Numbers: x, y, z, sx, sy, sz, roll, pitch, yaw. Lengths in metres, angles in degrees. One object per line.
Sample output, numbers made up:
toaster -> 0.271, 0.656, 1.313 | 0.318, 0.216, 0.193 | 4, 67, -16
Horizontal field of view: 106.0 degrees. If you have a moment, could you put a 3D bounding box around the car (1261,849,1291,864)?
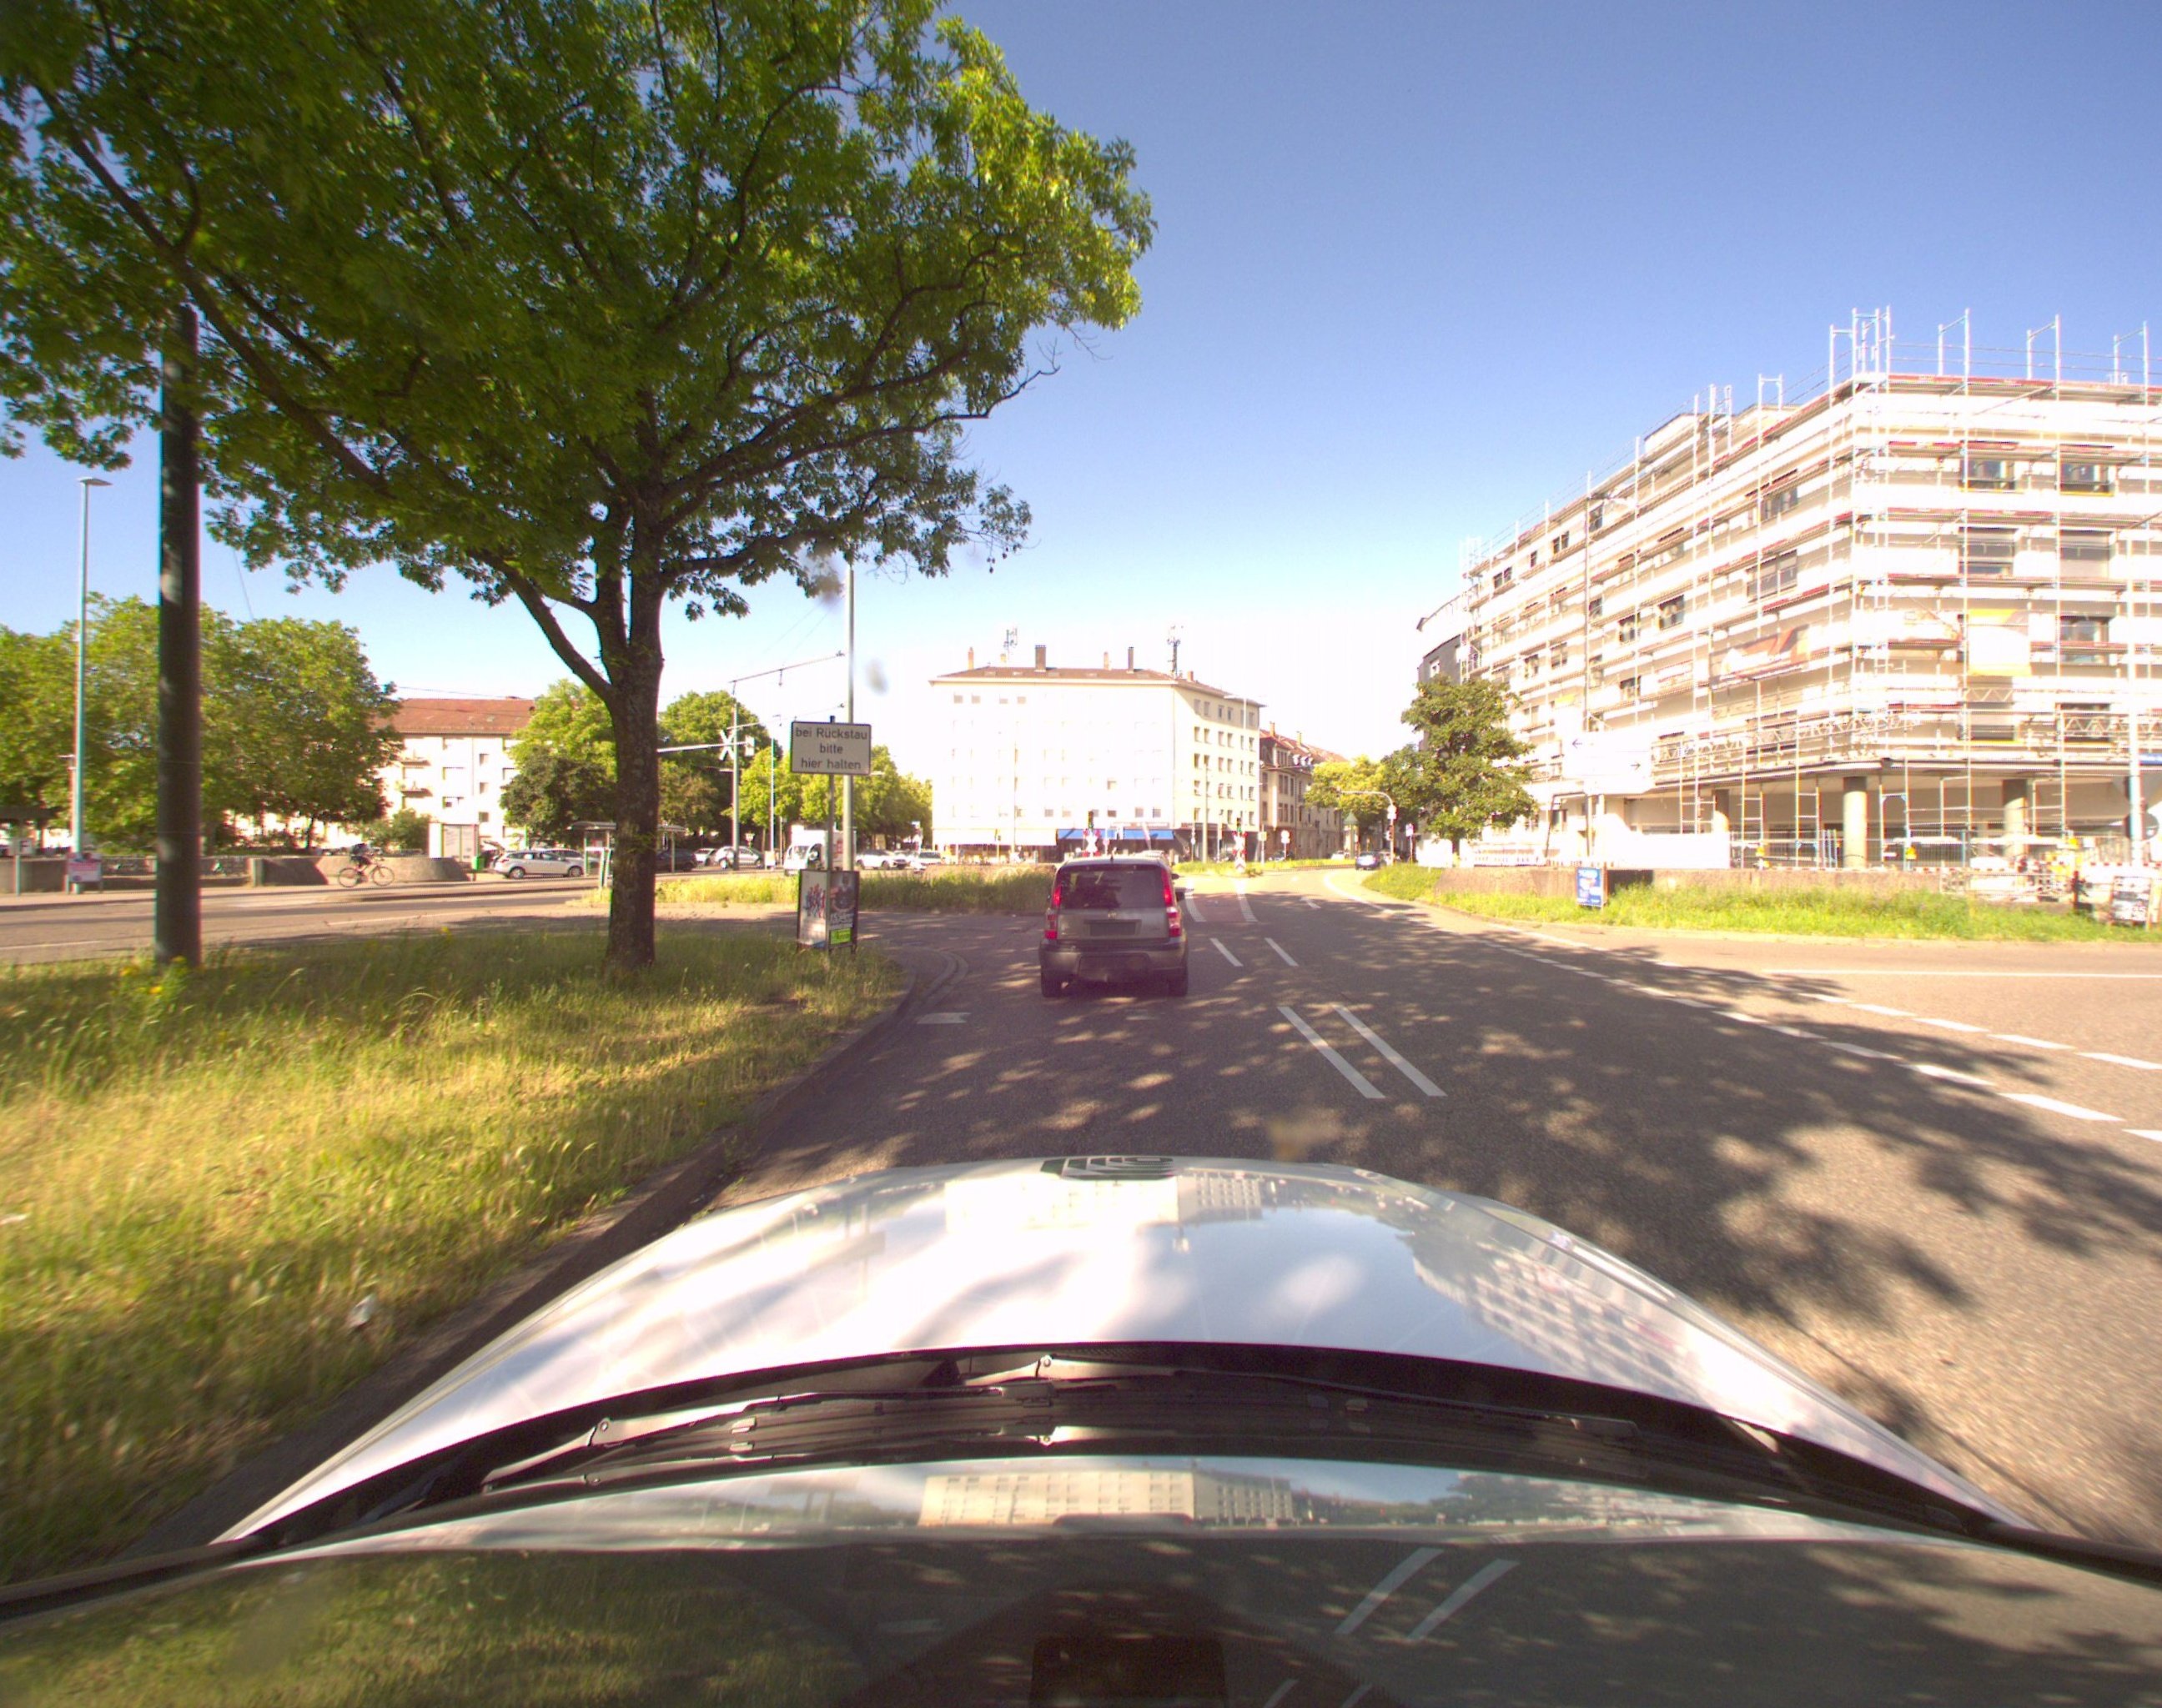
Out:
car -> 20.698, 0.249, 86.465 | 1.773, 1.565, 3.790 | 0, 0, 35

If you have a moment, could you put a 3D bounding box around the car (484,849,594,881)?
car -> -28.853, 0.562, 43.457 | 1.849, 1.544, 4.576 | 4, 3, 43

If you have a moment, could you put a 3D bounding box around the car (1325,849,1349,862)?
car -> 31.364, 0.173, 99.648 | 1.773, 1.483, 3.554 | 0, 0, 35

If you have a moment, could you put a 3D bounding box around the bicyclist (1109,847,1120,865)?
bicyclist -> 2.999, 0.192, 72.082 | 0.814, 1.559, 0.565 | 0, 0, 24

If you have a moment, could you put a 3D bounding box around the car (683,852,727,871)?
car -> -33.619, 0.615, 72.961 | 1.752, 1.617, 4.230 | 1, 1, 3

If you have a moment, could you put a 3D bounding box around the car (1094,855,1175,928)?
car -> 1.098, 0.758, 18.091 | 1.615, 1.429, 3.689 | 0, 0, 1

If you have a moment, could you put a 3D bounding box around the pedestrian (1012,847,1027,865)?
pedestrian -> -5.015, 0.142, 66.326 | 0.926, 1.427, 0.781 | 1, -1, 41

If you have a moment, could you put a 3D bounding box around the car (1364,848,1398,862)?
car -> 34.412, 0.126, 93.536 | 1.906, 1.594, 3.983 | 0, 0, -12

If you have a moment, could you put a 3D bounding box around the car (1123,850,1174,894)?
car -> 2.566, 0.610, 30.252 | 1.751, 1.486, 4.301 | 0, 0, 6

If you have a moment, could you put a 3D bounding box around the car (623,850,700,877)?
car -> -26.136, 0.554, 50.873 | 1.743, 1.488, 4.030 | 3, 2, 22

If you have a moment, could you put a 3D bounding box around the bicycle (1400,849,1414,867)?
bicycle -> 27.124, 0.309, 67.753 | 0.567, 1.511, 2.825 | 0, 0, 34

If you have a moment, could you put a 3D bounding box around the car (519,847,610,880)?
car -> -29.511, 0.501, 46.670 | 1.742, 1.717, 4.024 | 3, 2, 27

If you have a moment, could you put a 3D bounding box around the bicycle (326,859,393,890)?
bicycle -> -25.514, 0.715, 28.836 | 0.606, 1.001, 1.668 | 1, 1, 24

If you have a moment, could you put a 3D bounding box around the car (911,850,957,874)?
car -> -9.187, 0.456, 51.134 | 1.655, 1.448, 4.409 | 0, 0, 6

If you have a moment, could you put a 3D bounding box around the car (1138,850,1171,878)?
car -> 4.011, 0.526, 44.921 | 1.639, 1.438, 3.398 | 0, 0, 2

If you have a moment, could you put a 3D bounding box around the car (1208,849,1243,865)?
car -> 13.259, 0.276, 74.648 | 1.773, 1.396, 3.749 | 0, 0, 35

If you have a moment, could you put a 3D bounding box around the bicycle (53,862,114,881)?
bicycle -> -45.252, 0.779, 36.976 | 1.695, 0.839, 0.541 | 0, 0, -43

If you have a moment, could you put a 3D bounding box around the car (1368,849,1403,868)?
car -> 25.110, 0.337, 67.010 | 1.802, 1.508, 4.026 | 0, 1, 34

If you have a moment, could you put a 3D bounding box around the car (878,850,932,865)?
car -> -14.583, 0.285, 67.591 | 3.965, 1.243, 2.004 | 1, 0, 7

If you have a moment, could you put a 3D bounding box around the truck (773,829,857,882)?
truck -> -12.904, 0.059, 39.782 | 1.774, 2.427, 4.129 | 0, 0, 18

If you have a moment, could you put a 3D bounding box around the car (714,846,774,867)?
car -> -26.002, 0.200, 62.936 | 3.989, 1.572, 1.992 | 0, 0, -12

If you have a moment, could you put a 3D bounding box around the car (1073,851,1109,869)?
car -> 0.656, 0.404, 56.096 | 1.691, 1.253, 3.611 | 0, 0, -12

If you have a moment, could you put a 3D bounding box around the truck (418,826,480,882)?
truck -> -35.720, -0.062, 45.959 | 4.768, 2.994, 2.012 | 1, 1, 43

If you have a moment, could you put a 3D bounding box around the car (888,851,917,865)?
car -> -17.656, 0.388, 80.582 | 1.987, 1.310, 4.000 | 0, 0, 0

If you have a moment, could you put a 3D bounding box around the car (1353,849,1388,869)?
car -> 22.345, 0.368, 62.877 | 1.758, 1.442, 3.641 | 1, 1, 33

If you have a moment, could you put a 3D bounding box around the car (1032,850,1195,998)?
car -> 0.389, 0.706, 9.920 | 1.653, 1.510, 3.253 | 0, 0, 2

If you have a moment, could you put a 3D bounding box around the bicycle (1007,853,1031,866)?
bicycle -> -5.053, 0.453, 66.350 | 1.832, 0.951, 0.790 | 1, -1, 41

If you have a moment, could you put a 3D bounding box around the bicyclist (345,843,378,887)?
bicyclist -> -25.490, 0.368, 28.854 | 0.606, 1.530, 0.680 | 1, 1, 24

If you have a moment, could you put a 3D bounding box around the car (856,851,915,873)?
car -> -14.564, 0.557, 60.699 | 3.950, 1.572, 2.012 | 0, 0, 27
